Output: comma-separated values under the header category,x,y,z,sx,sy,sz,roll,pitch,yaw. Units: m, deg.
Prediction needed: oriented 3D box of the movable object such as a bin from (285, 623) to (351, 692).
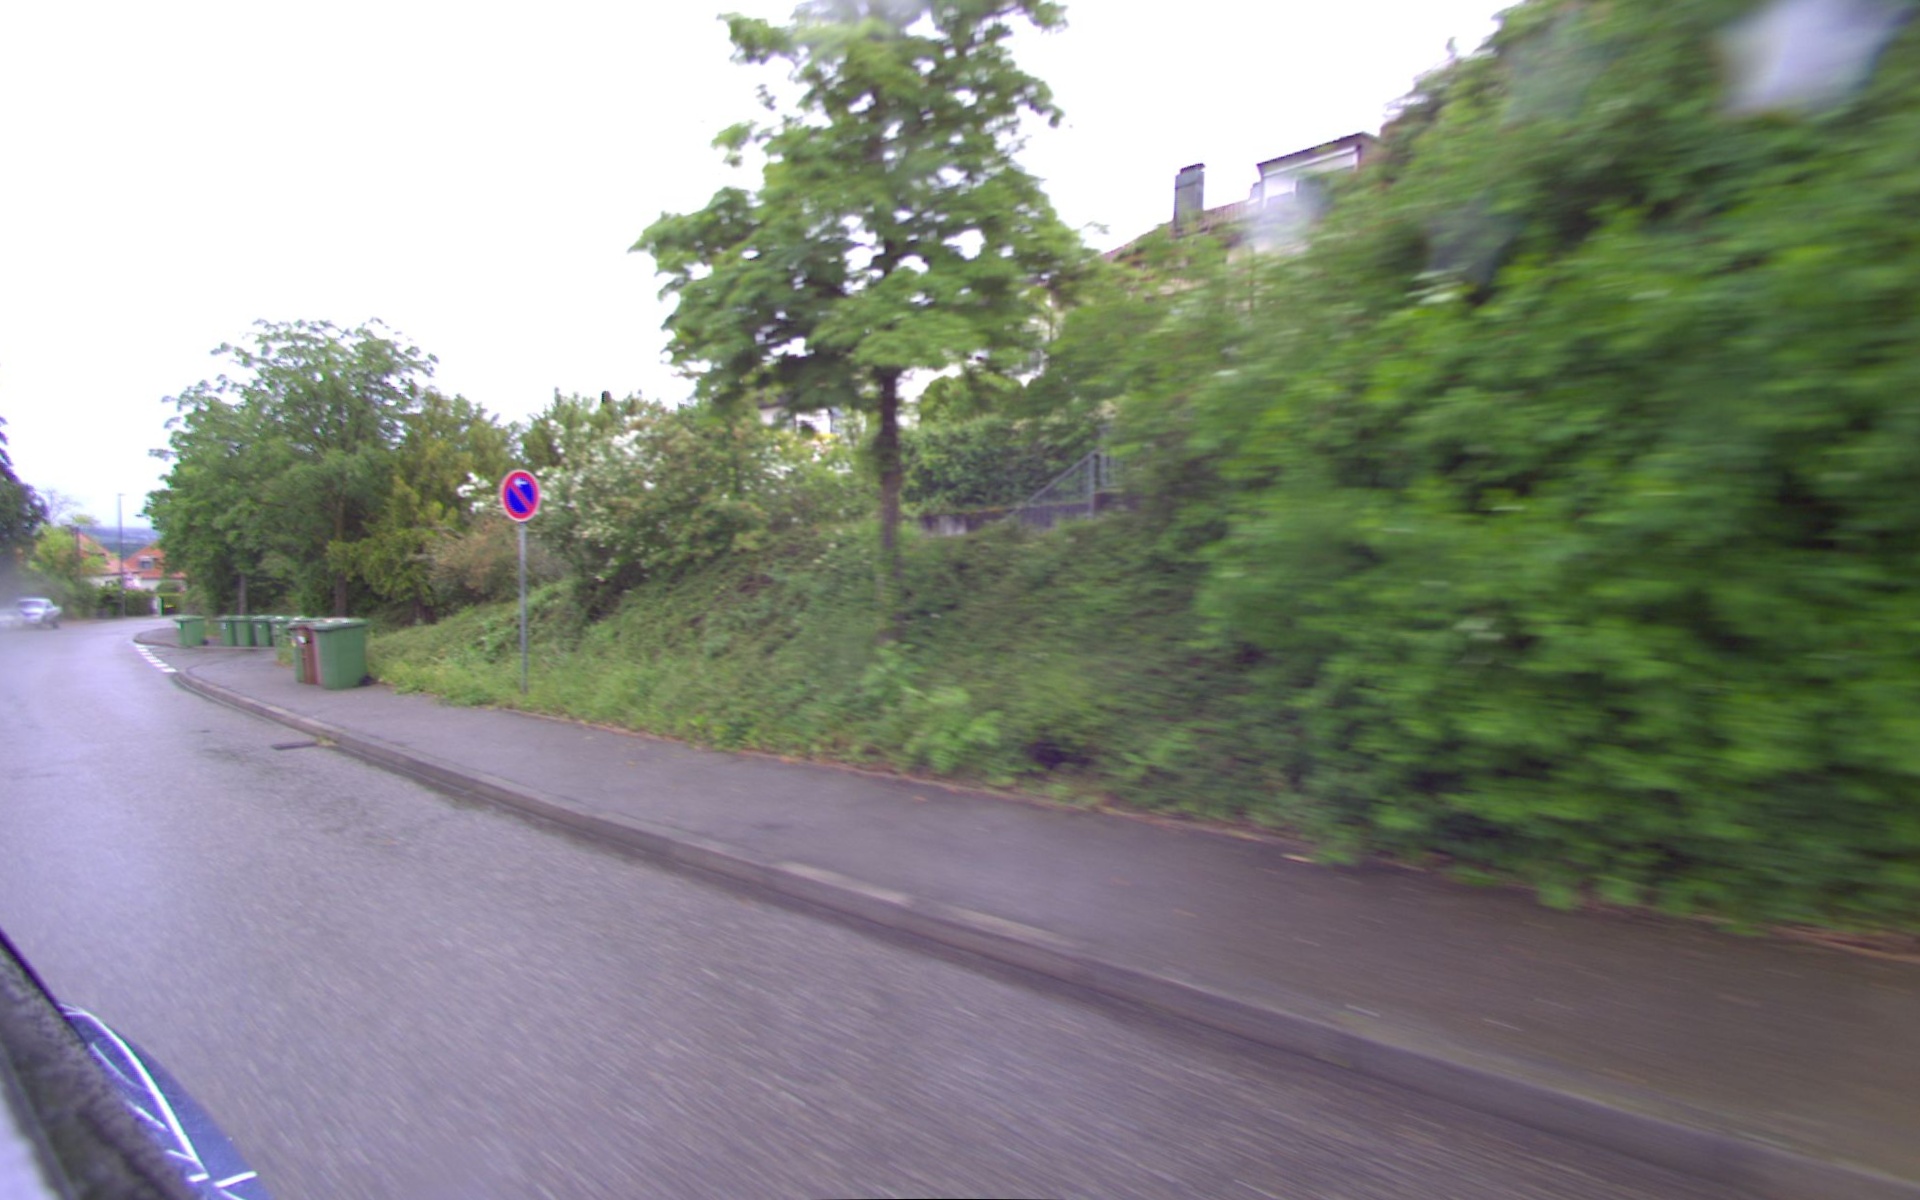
category,x,y,z,sx,sy,sz,roll,pitch,yaw
movable object such as a bin,-10.747,0.947,16.951,0.738,1.105,0.760,-1,-1,41

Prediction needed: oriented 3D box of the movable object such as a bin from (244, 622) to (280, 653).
category,x,y,z,sx,sy,sz,roll,pitch,yaw
movable object such as a bin,-25.071,1.350,36.357,0.710,1.035,0.779,-2,2,3

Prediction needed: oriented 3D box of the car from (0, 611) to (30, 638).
category,x,y,z,sx,sy,sz,roll,pitch,yaw
car,-52.837,1.319,55.672,1.725,1.434,4.012,0,0,-32

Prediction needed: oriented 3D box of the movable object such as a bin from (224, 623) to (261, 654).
category,x,y,z,sx,sy,sz,roll,pitch,yaw
movable object such as a bin,-25.795,1.367,36.405,0.710,1.035,0.779,-2,2,3

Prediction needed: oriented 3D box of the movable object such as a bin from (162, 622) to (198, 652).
category,x,y,z,sx,sy,sz,roll,pitch,yaw
movable object such as a bin,-28.579,1.359,37.104,0.715,1.035,0.773,-1,2,26

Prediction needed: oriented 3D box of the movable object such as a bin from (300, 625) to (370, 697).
category,x,y,z,sx,sy,sz,roll,pitch,yaw
movable object such as a bin,-9.789,0.933,15.861,0.690,1.076,0.760,-1,-1,41

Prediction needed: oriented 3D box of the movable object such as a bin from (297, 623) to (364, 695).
category,x,y,z,sx,sy,sz,roll,pitch,yaw
movable object such as a bin,-10.218,0.939,16.438,0.671,1.105,0.760,-1,-1,41

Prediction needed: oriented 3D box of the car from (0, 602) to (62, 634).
category,x,y,z,sx,sy,sz,roll,pitch,yaw
car,-55.503,1.054,60.494,1.839,1.832,4.876,0,0,-30

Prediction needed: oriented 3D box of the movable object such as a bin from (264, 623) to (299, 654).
category,x,y,z,sx,sy,sz,roll,pitch,yaw
movable object such as a bin,-24.334,1.363,36.309,0.710,1.035,0.779,-2,2,3

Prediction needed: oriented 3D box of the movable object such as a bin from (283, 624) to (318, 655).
category,x,y,z,sx,sy,sz,roll,pitch,yaw
movable object such as a bin,-23.612,1.406,36.255,0.710,1.035,0.779,-2,2,3

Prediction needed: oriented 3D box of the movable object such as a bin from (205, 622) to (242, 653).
category,x,y,z,sx,sy,sz,roll,pitch,yaw
movable object such as a bin,-26.531,1.360,36.447,0.710,1.035,0.779,-2,2,3

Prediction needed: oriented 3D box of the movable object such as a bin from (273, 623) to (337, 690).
category,x,y,z,sx,sy,sz,roll,pitch,yaw
movable object such as a bin,-11.325,0.953,17.501,0.738,1.105,0.760,-1,-1,41

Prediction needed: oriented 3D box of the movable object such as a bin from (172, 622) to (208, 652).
category,x,y,z,sx,sy,sz,roll,pitch,yaw
movable object such as a bin,-27.939,1.338,36.733,0.715,1.035,0.773,-1,2,26
